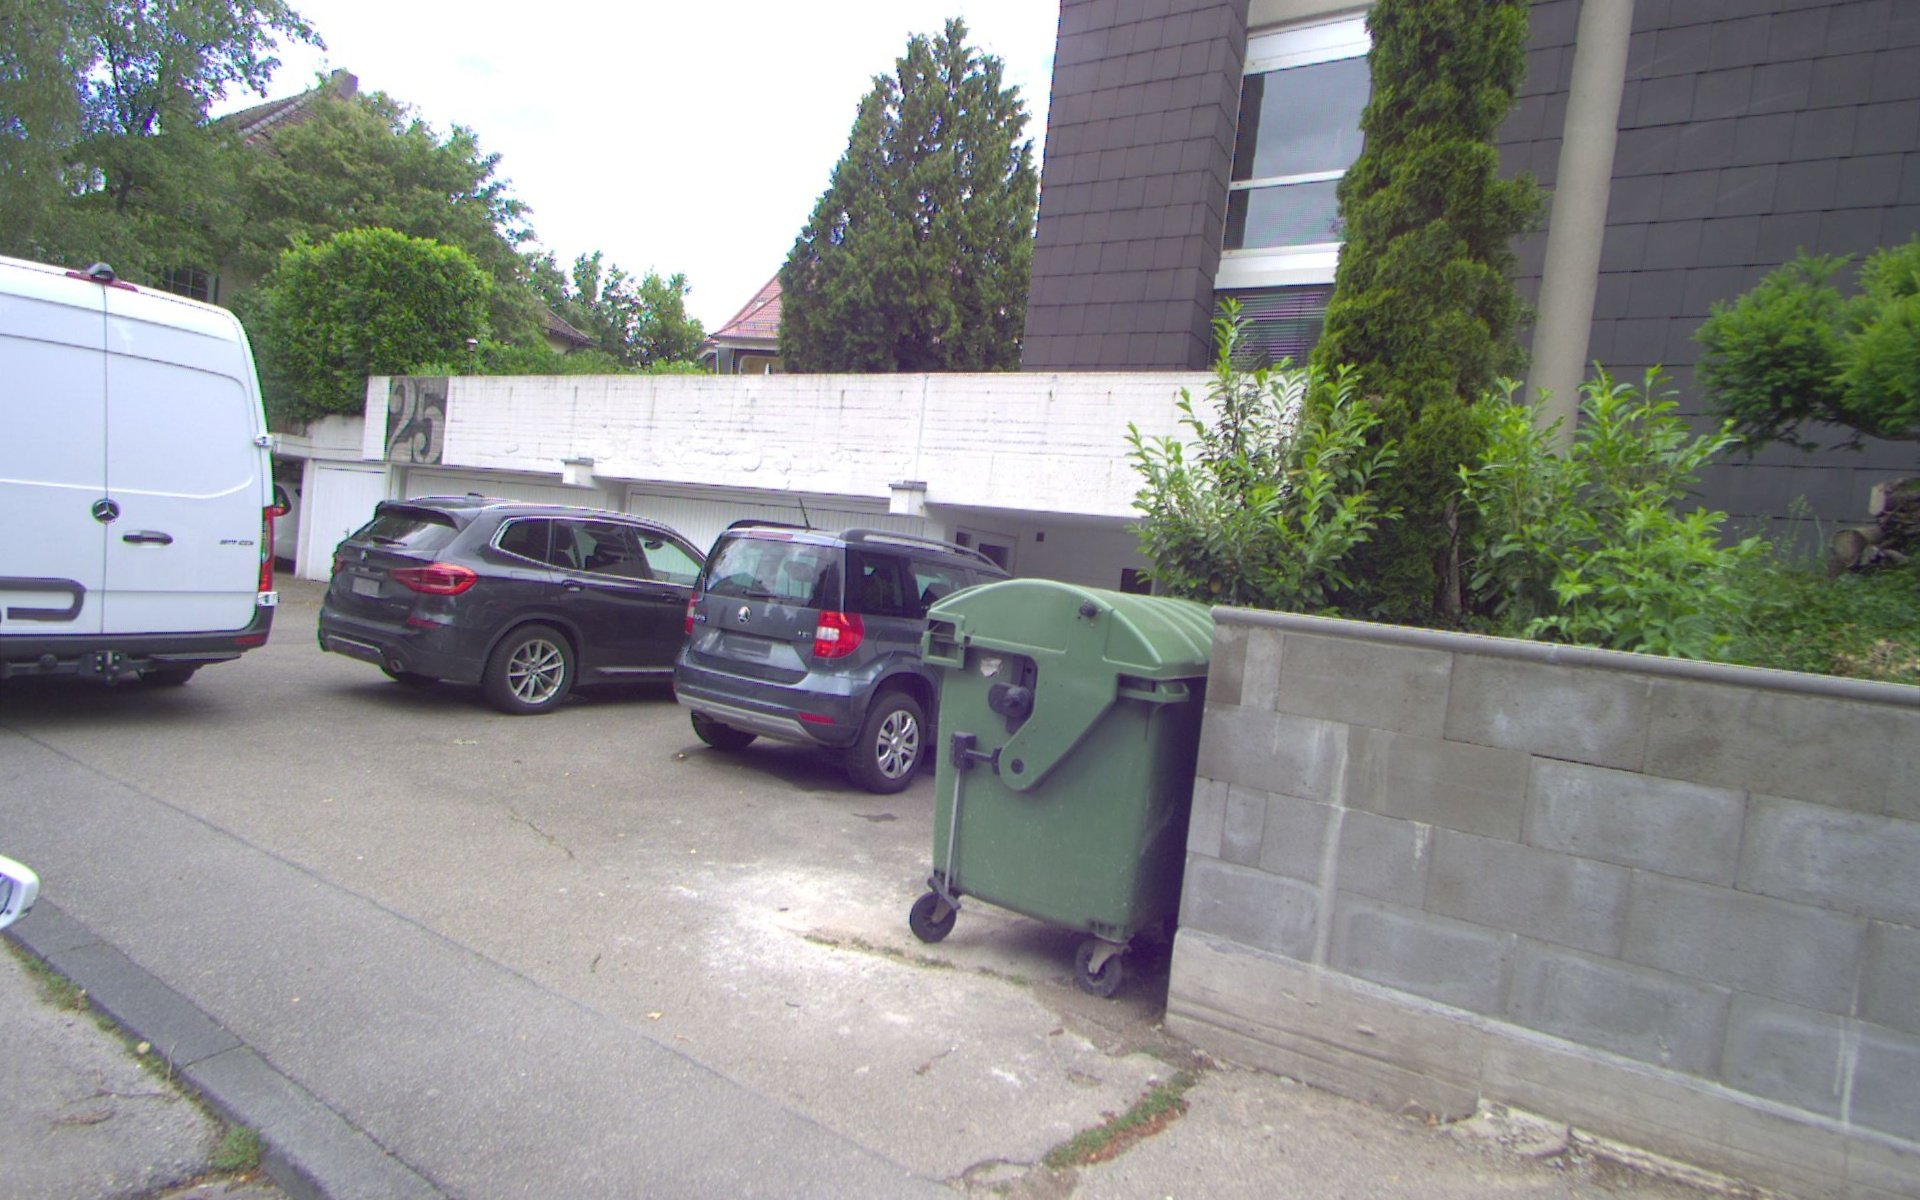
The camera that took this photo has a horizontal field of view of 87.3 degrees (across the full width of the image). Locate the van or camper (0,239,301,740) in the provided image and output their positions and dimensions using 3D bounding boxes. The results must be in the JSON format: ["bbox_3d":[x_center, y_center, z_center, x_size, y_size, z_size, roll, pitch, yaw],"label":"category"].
[{"bbox_3d":[-7.553,-0.884,7.390,6.252,2.664,1.963,7,4,31],"label":"van or camper"}]

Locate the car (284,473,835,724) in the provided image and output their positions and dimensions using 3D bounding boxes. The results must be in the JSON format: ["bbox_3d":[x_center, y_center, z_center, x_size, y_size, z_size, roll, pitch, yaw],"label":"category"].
[{"bbox_3d":[-3.326,0.021,9.262,1.800,1.674,4.395,7,2,33],"label":"car"}]

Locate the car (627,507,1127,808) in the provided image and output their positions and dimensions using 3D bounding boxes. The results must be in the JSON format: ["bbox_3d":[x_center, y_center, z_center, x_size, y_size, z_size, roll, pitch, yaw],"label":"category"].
[{"bbox_3d":[-0.404,0.384,7.934,1.801,1.674,3.796,8,2,35],"label":"car"}]

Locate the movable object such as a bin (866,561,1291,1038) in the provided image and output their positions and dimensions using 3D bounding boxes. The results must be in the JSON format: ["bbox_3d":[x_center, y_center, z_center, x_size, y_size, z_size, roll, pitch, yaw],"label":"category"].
[{"bbox_3d":[0.531,0.660,4.107,1.161,1.470,1.300,7,2,31],"label":"movable object such as a bin"}]
